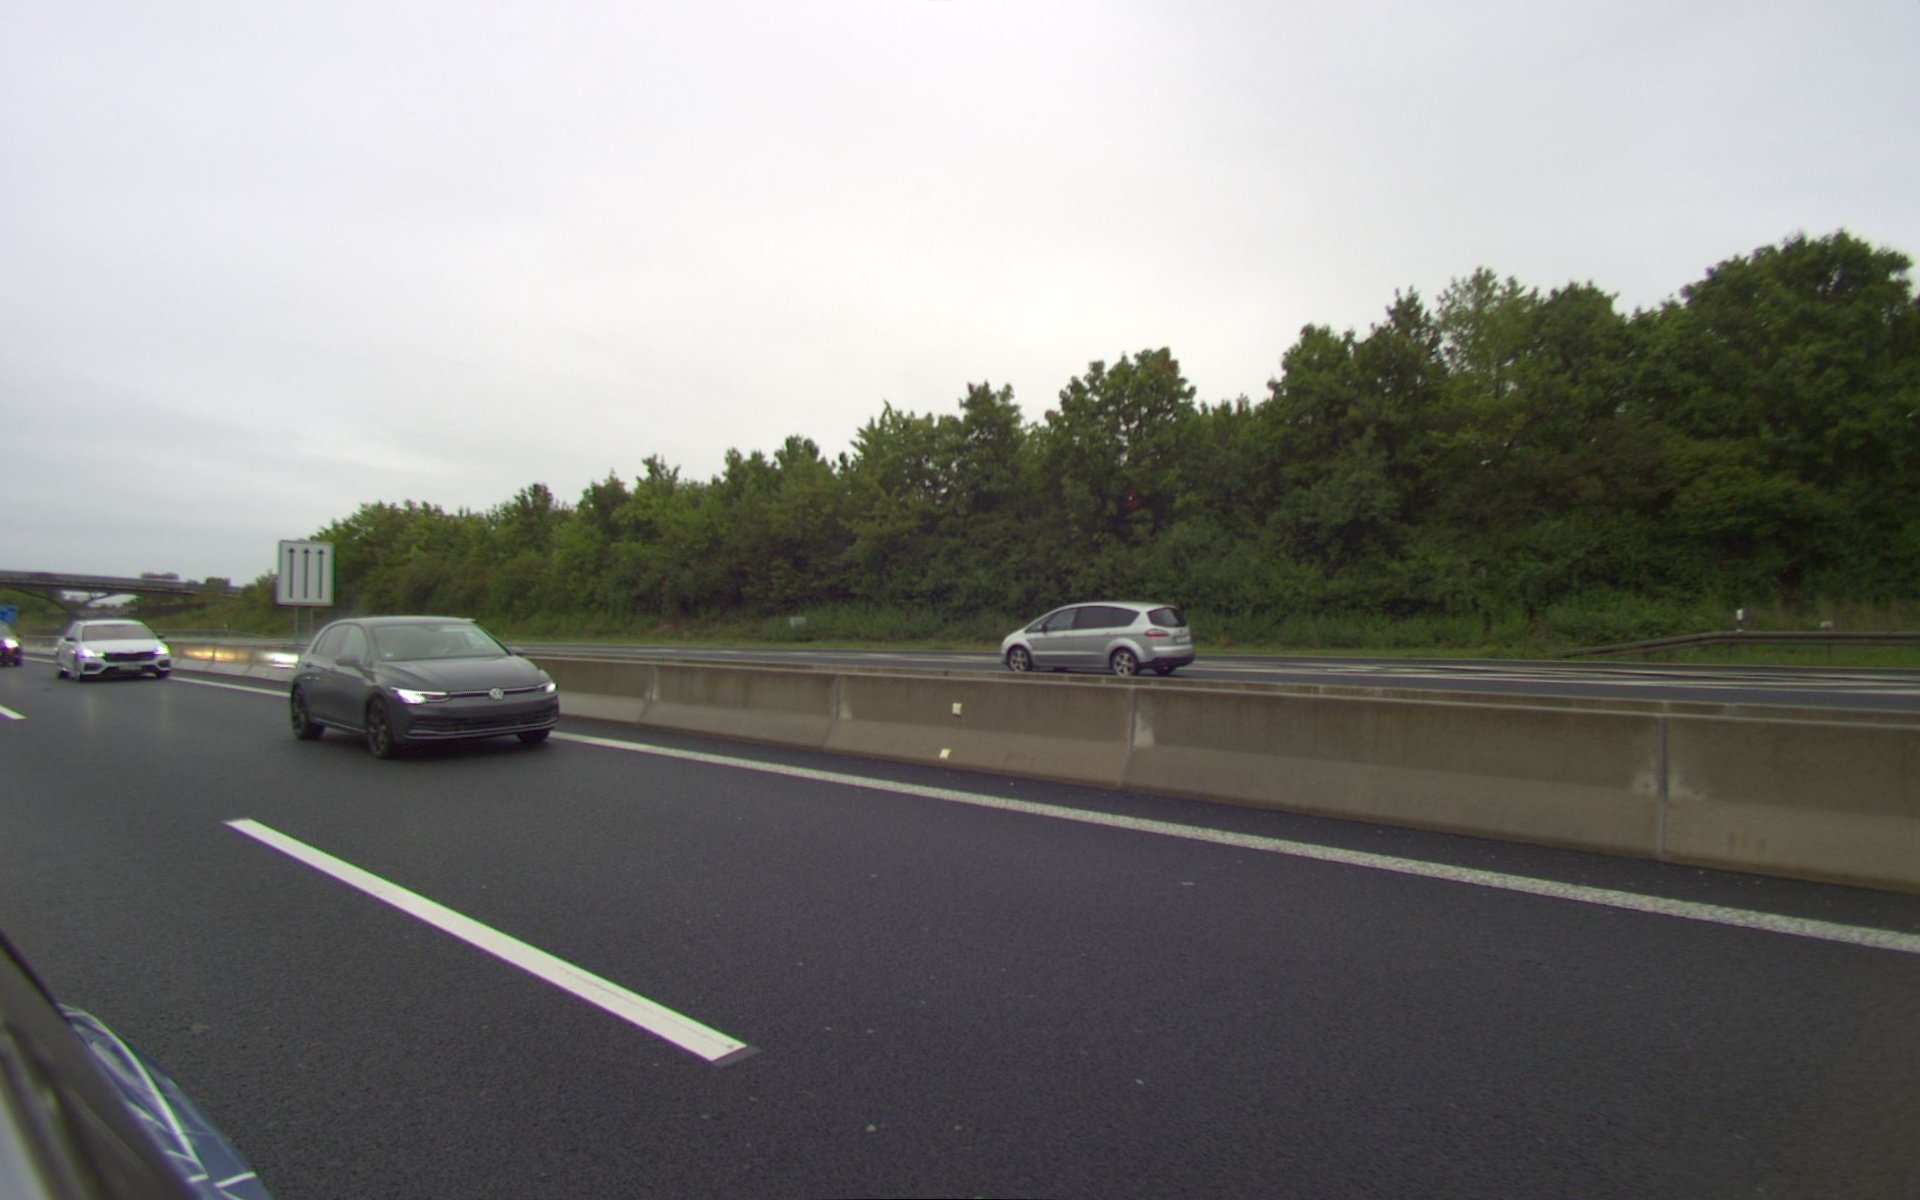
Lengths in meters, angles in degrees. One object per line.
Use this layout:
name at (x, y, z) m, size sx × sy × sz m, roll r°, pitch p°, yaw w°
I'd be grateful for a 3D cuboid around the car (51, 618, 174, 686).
car at (-21.147, 1.241, 25.206) m, size 4.114 × 1.518 × 1.880 m, roll -2°, pitch -1°, yaw 43°

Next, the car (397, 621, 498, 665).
car at (-19.030, 1.546, 37.514) m, size 4.138 × 1.518 × 1.962 m, roll -2°, pitch -1°, yaw 41°

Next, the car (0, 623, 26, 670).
car at (-32.349, 1.528, 33.446) m, size 4.114 × 1.518 × 1.880 m, roll -2°, pitch -1°, yaw 43°

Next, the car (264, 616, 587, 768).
car at (-6.324, 0.923, 11.744) m, size 4.457 × 1.416 × 1.880 m, roll -2°, pitch -1°, yaw 41°

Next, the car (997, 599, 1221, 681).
car at (3.254, 0.856, 22.662) m, size 4.537 × 1.647 × 2.156 m, roll -2°, pitch -1°, yaw 43°
